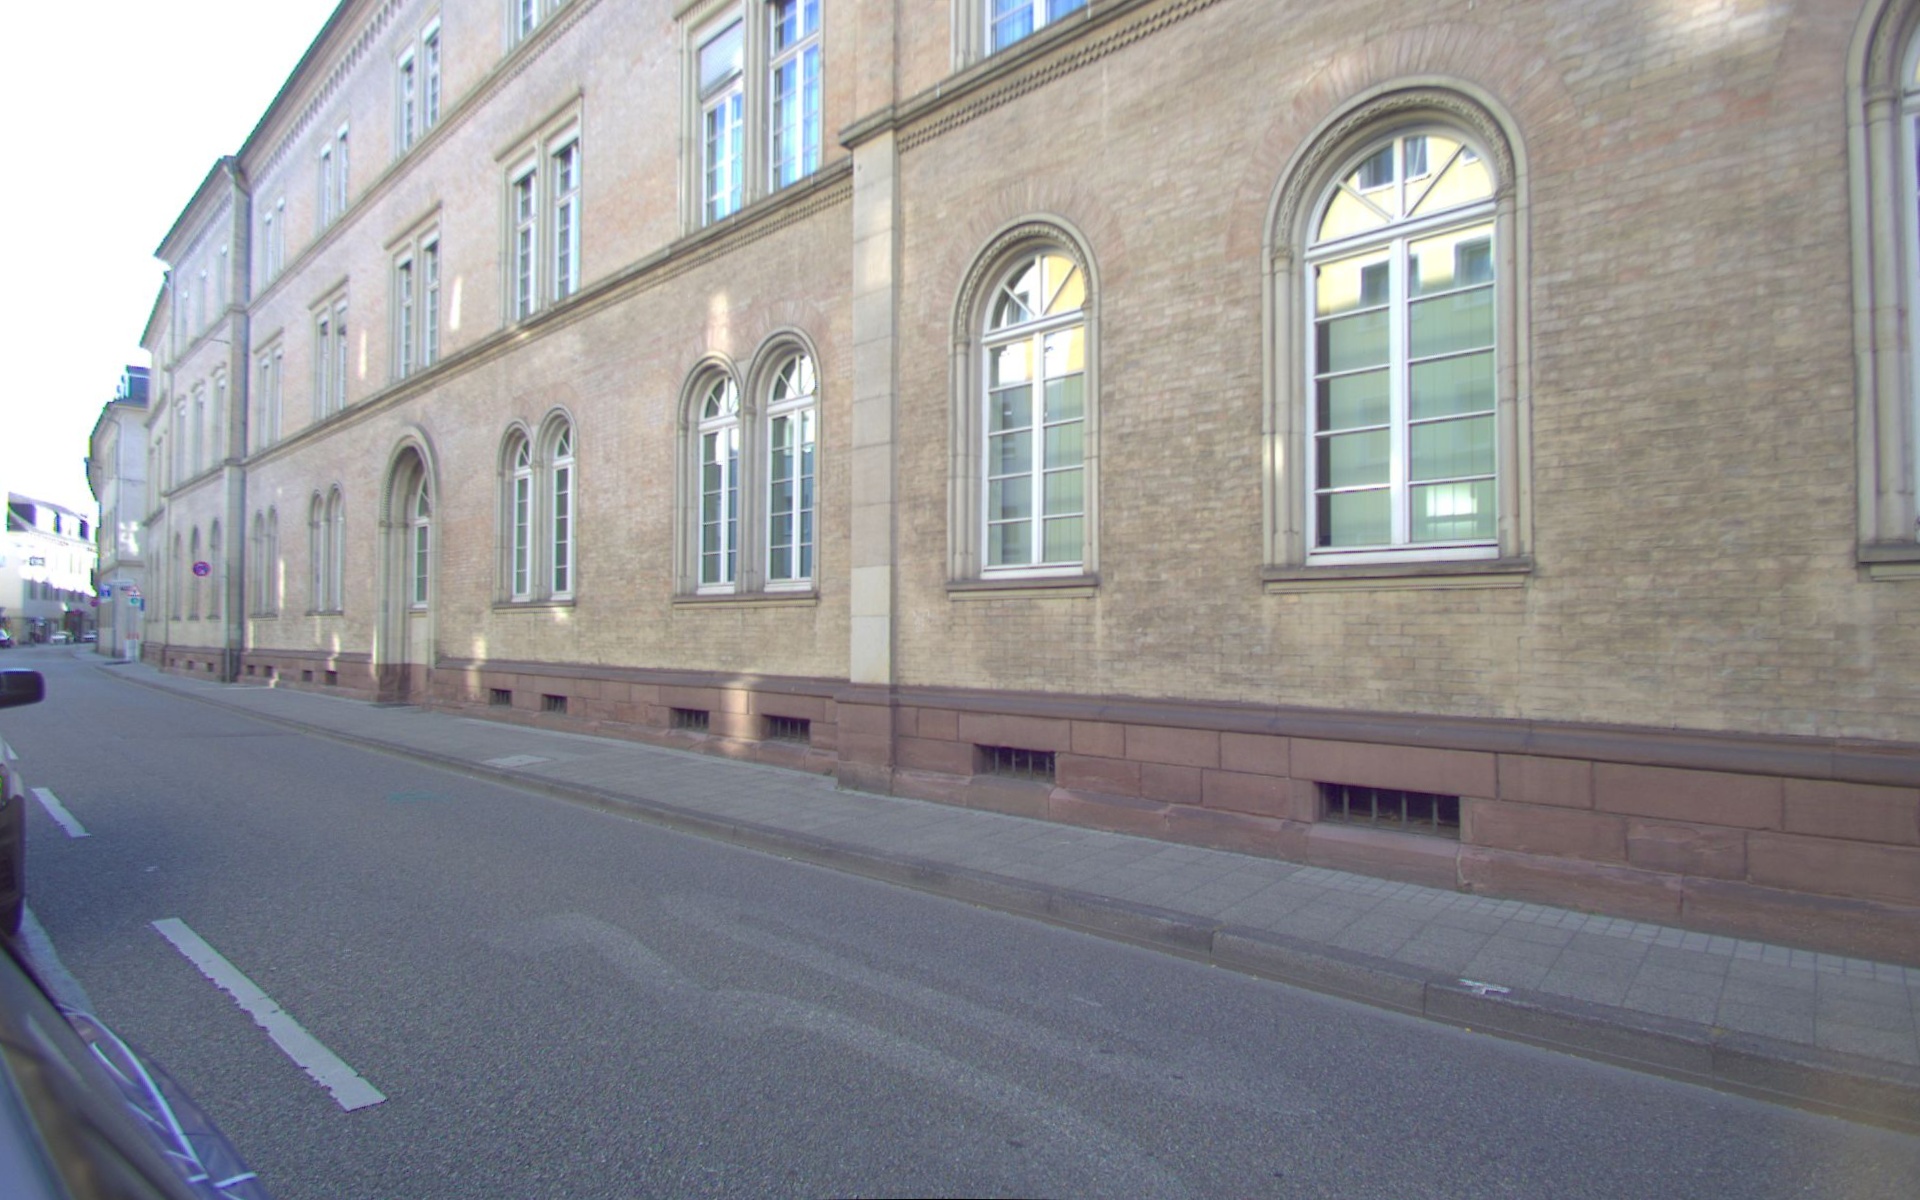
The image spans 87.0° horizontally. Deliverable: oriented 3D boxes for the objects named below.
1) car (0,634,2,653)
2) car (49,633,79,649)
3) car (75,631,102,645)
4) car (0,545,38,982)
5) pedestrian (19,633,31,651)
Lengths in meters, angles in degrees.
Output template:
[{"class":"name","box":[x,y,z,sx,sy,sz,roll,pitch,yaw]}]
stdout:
[{"class":"car","box":[-86.608,3.884,89.951,1.969,1.665,4.235,-1,0,-41]},{"class":"car","box":[-102.850,4.673,116.176,1.966,1.665,4.240,-1,0,-33]},{"class":"car","box":[-109.223,4.751,126.829,1.966,1.665,4.240,-1,0,-33]},{"class":"car","box":[-6.427,0.678,5.309,5.329,1.784,1.747,-1,-2,41]},{"class":"pedestrian","box":[-88.778,3.962,96.099,0.694,1.648,0.834,5,-4,-38]}]
